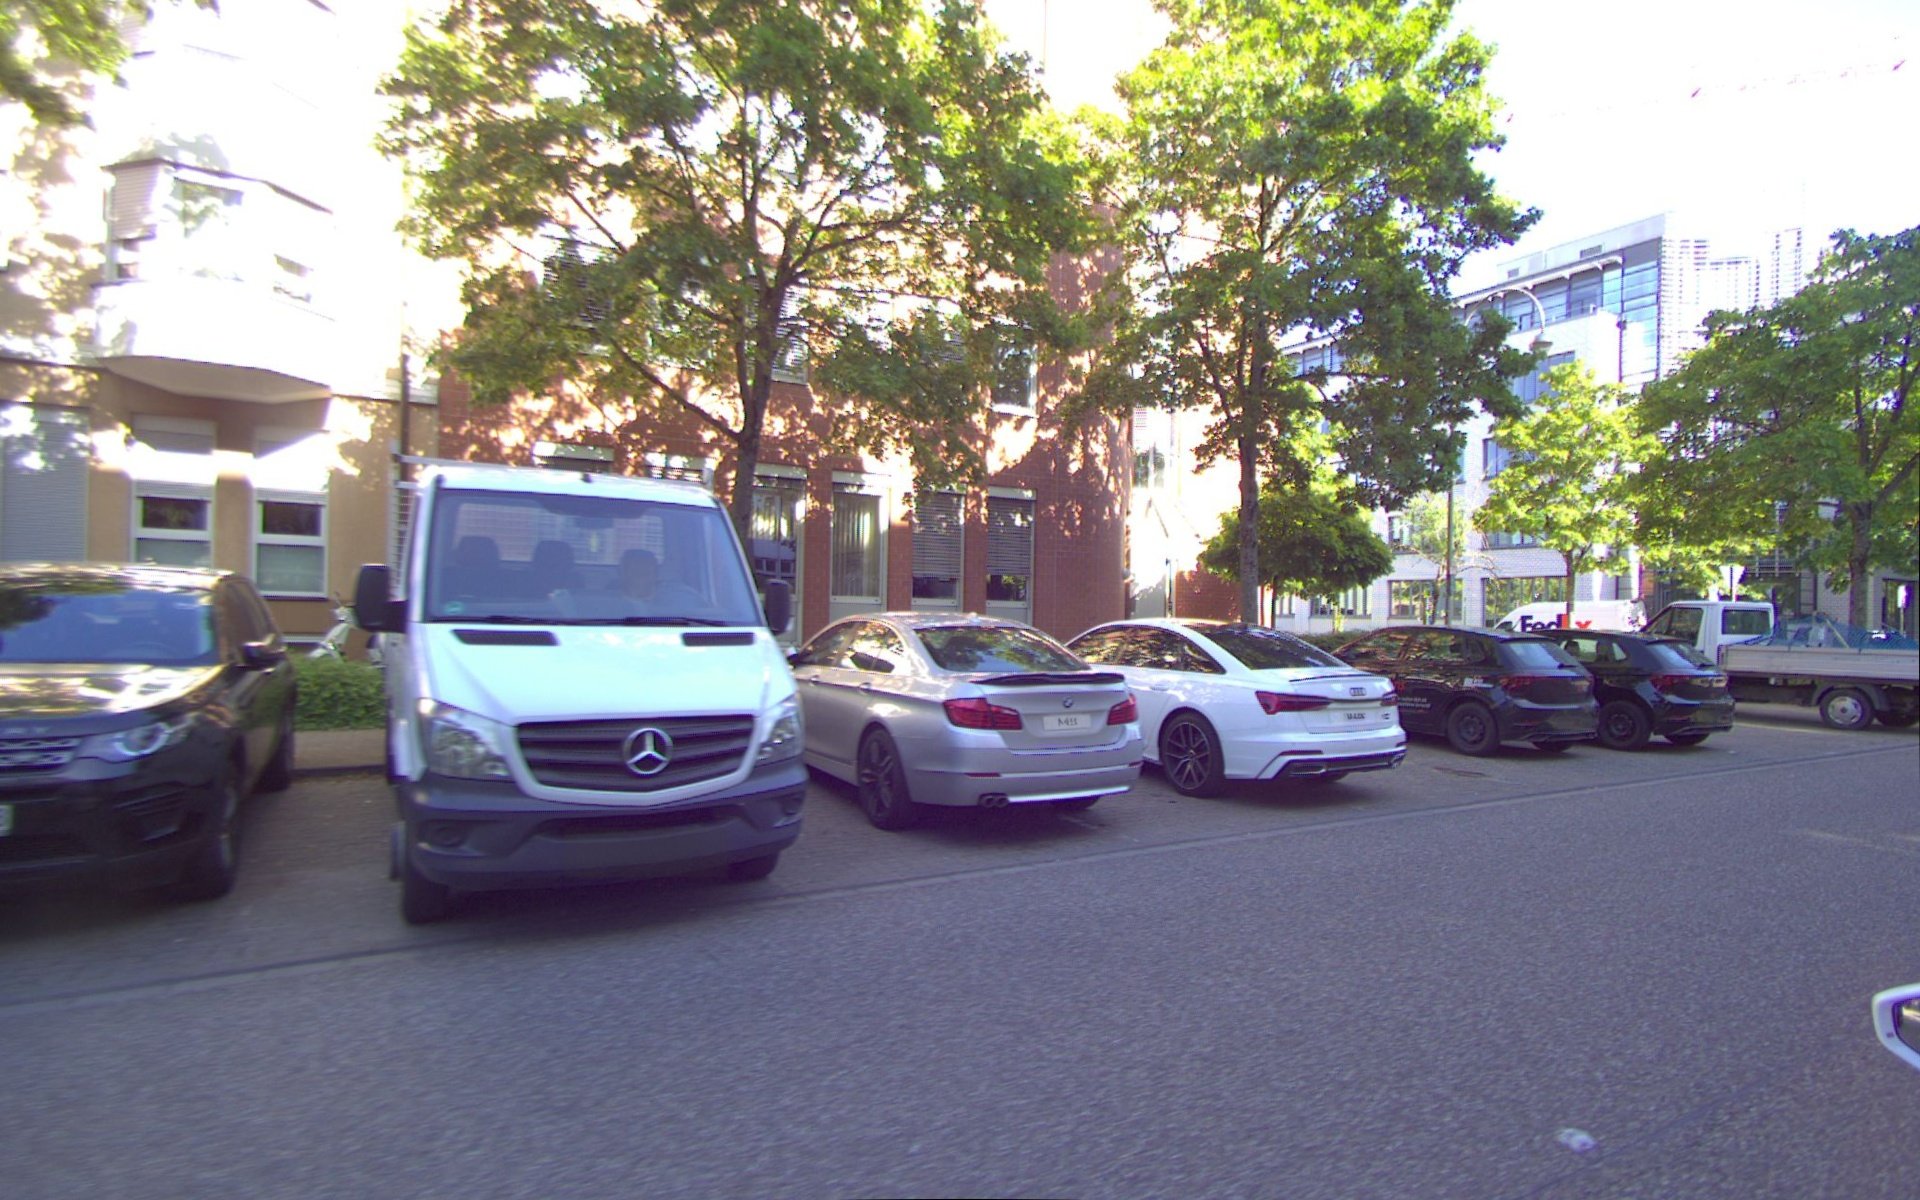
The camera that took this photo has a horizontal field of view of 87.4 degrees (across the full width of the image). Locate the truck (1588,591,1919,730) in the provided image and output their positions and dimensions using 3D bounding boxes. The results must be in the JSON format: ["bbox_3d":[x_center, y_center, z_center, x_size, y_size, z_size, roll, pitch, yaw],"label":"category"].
[{"bbox_3d":[13.678,0.925,16.852,2.111,1.985,4.965,1,-1,-28],"label":"truck"}]

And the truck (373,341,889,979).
[{"bbox_3d":[-2.800,0.292,7.118,2.161,2.454,6.205,1,-1,-29],"label":"truck"}]

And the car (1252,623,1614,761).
[{"bbox_3d":[5.816,1.028,12.843,1.701,1.454,3.969,1,-1,-30],"label":"car"}]

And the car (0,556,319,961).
[{"bbox_3d":[-5.097,0.615,5.881,1.976,1.684,4.088,2,0,-29],"label":"car"}]

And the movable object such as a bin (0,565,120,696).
[{"bbox_3d":[-11.630,0.376,12.890,1.236,1.583,1.134,2,-1,-42],"label":"movable object such as a bin"}]

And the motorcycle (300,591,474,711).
[{"bbox_3d":[-8.136,0.711,14.322,2.086,1.612,0.710,1,-1,-32],"label":"motorcycle"}]

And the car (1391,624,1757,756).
[{"bbox_3d":[8.220,1.113,13.840,1.767,1.454,3.971,2,-1,-28],"label":"car"}]

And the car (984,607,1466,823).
[{"bbox_3d":[2.229,0.863,9.774,1.868,1.461,4.517,1,1,-31],"label":"car"}]

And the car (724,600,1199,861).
[{"bbox_3d":[-0.309,0.804,8.415,1.977,1.507,4.404,1,0,-31],"label":"car"}]

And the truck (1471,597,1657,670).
[{"bbox_3d":[24.509,1.331,41.078,2.549,2.740,6.072,1,-1,-31],"label":"truck"}]
